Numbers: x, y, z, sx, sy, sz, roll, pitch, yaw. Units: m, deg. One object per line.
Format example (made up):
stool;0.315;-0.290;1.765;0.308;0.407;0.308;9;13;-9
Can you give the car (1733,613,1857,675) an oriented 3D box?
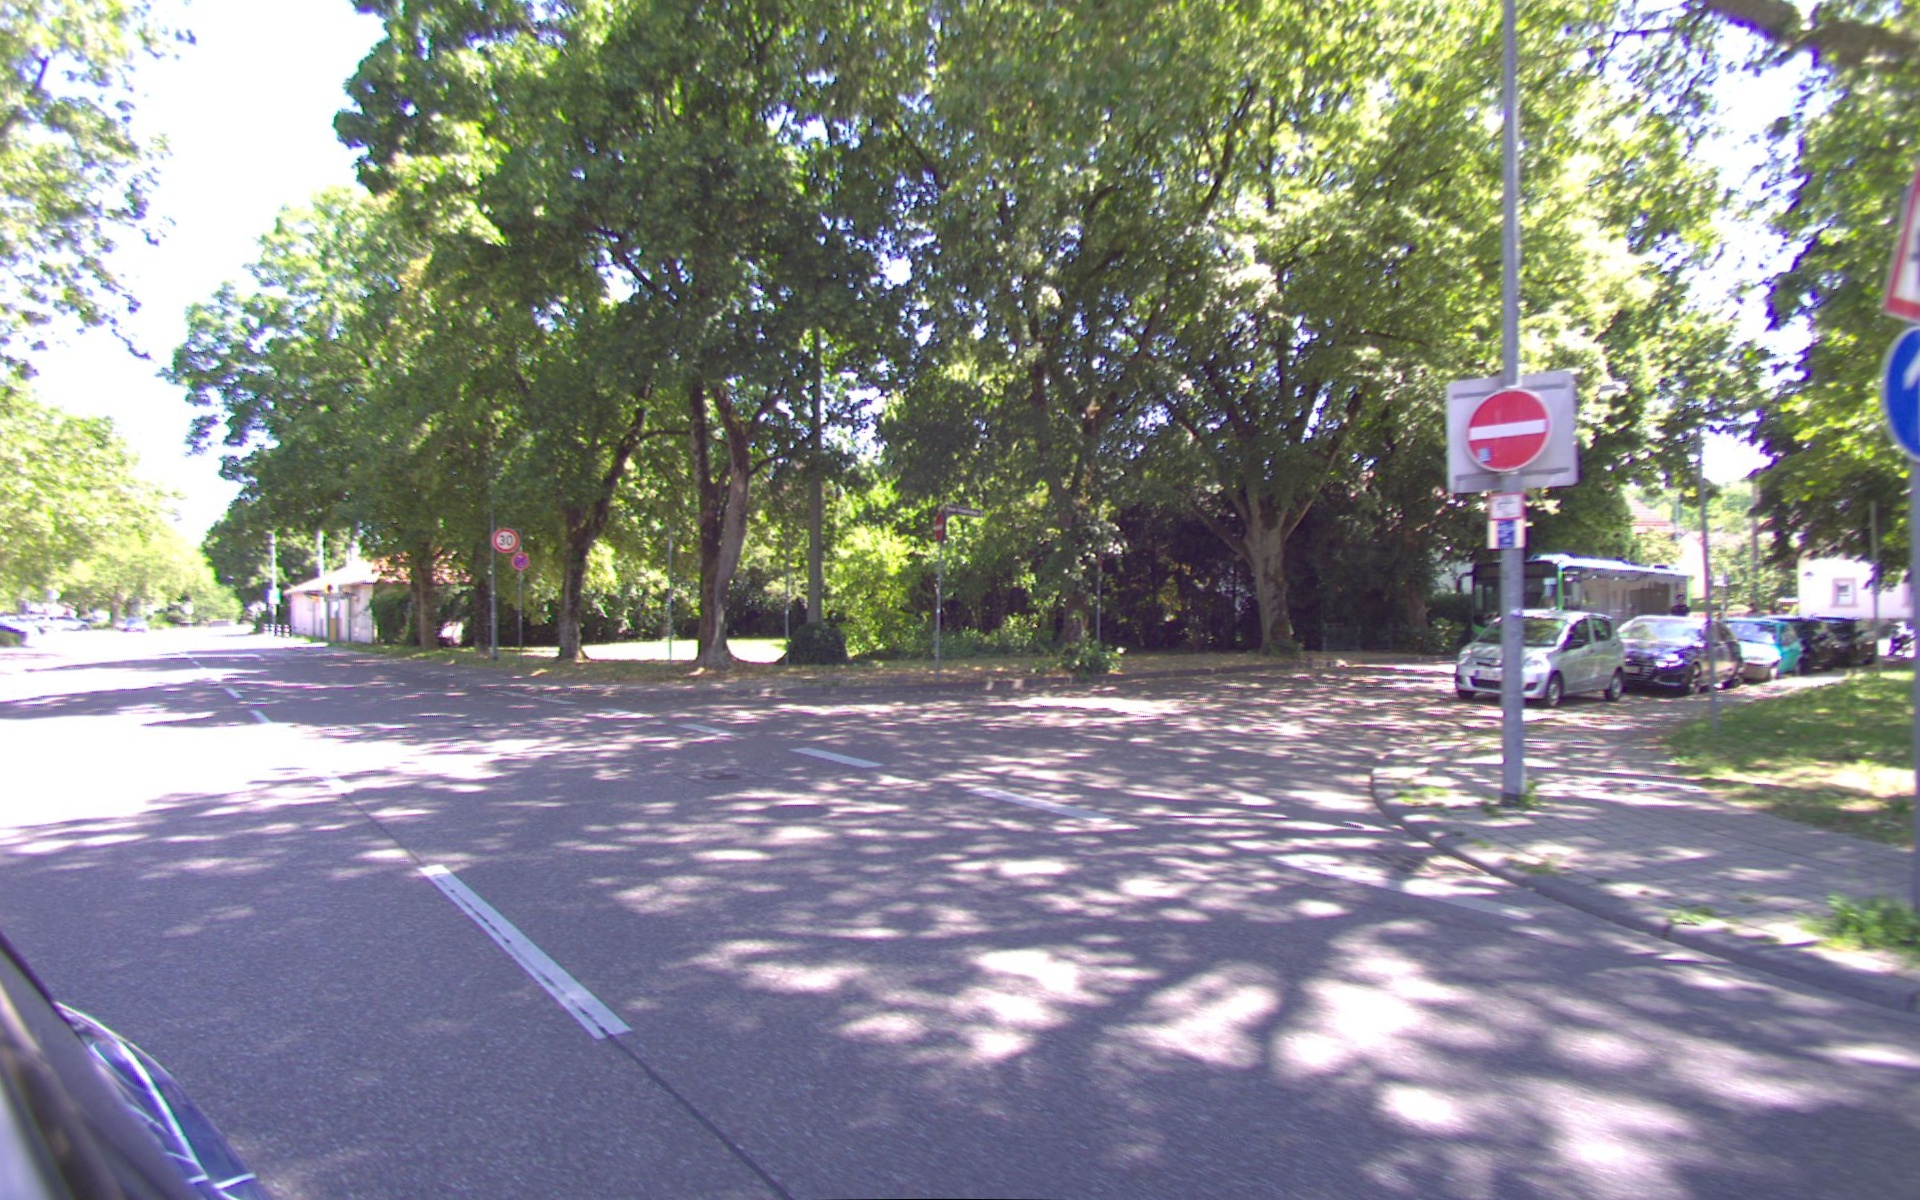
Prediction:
car;22.262;1.109;26.928;4.306;1.504;1.763;0;-1;-40

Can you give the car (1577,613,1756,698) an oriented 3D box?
car;14.036;1.010;20.007;4.431;1.450;1.759;0;0;-39

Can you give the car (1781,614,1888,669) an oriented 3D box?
car;25.778;1.169;29.794;3.855;1.504;1.763;0;-1;-40

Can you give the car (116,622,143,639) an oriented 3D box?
car;-73.988;2.676;90.187;1.635;1.386;3.459;-3;1;-36

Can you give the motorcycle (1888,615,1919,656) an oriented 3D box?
motorcycle;34.178;1.256;36.473;2.225;1.437;0.714;0;-1;-39

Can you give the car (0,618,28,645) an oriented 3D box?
car;-53.916;1.731;55.532;1.634;1.471;3.828;-1;-1;37

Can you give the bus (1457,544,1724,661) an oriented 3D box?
bus;22.174;0.123;34.770;15.697;3.320;2.882;0;-1;-39

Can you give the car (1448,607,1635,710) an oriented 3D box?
car;9.742;0.889;16.882;3.430;1.508;1.603;0;0;-39

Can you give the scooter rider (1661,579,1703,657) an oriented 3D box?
scooter rider;22.052;0.534;30.915;0.912;2.335;0.742;0;-1;-36

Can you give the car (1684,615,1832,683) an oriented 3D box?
car;18.867;1.083;23.868;4.694;1.450;1.759;0;-1;-39

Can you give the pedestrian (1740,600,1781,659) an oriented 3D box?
pedestrian;24.979;0.911;31.593;0.925;1.816;0.724;0;-1;-34
